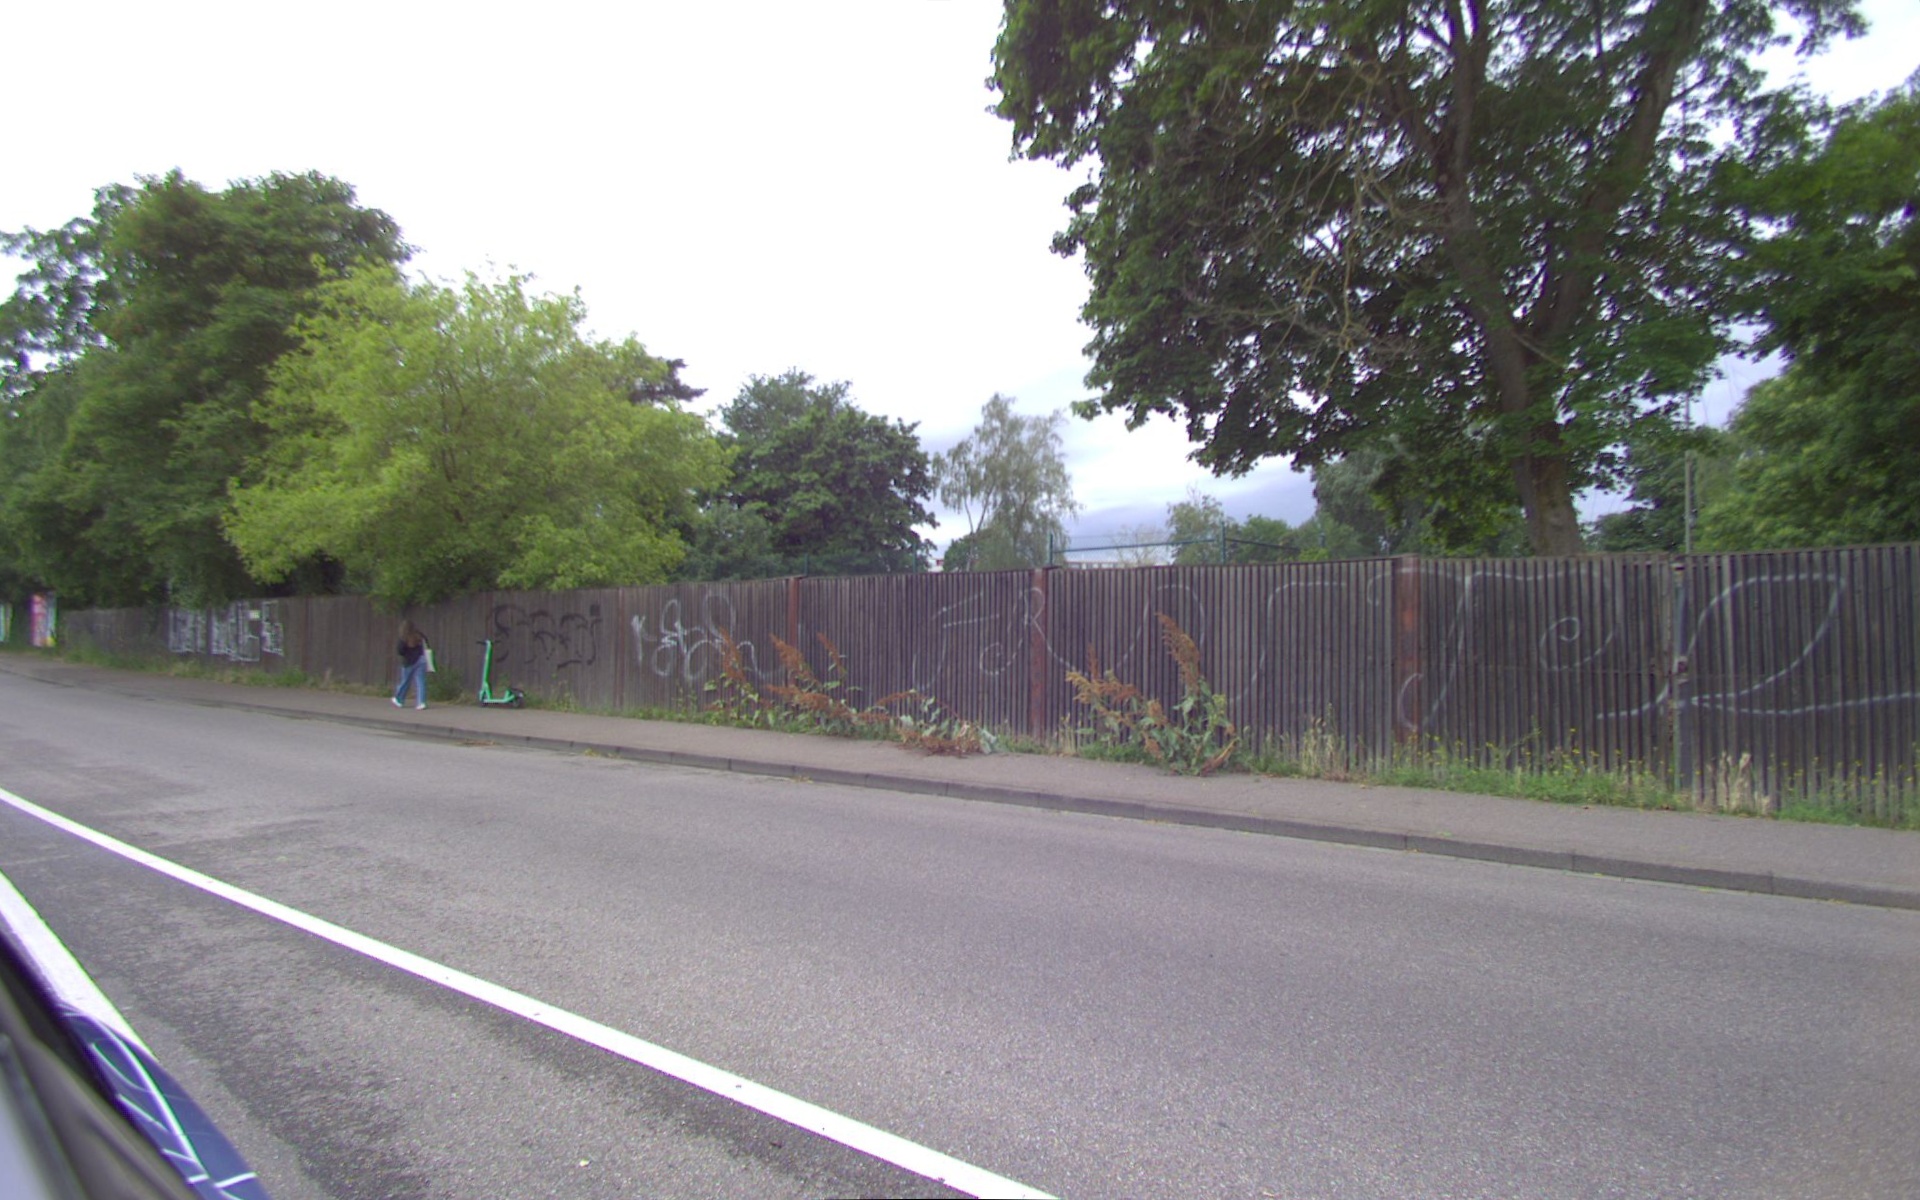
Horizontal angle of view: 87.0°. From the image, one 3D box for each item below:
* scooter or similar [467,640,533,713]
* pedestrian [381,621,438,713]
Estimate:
[{"bbox_3d":[-7.816,1.275,17.178,1.301,1.179,0.419,-2,-2,36],"label":"scooter or similar"},{"bbox_3d":[-9.457,1.136,17.392,0.723,1.541,0.606,-2,-2,36],"label":"pedestrian"}]
